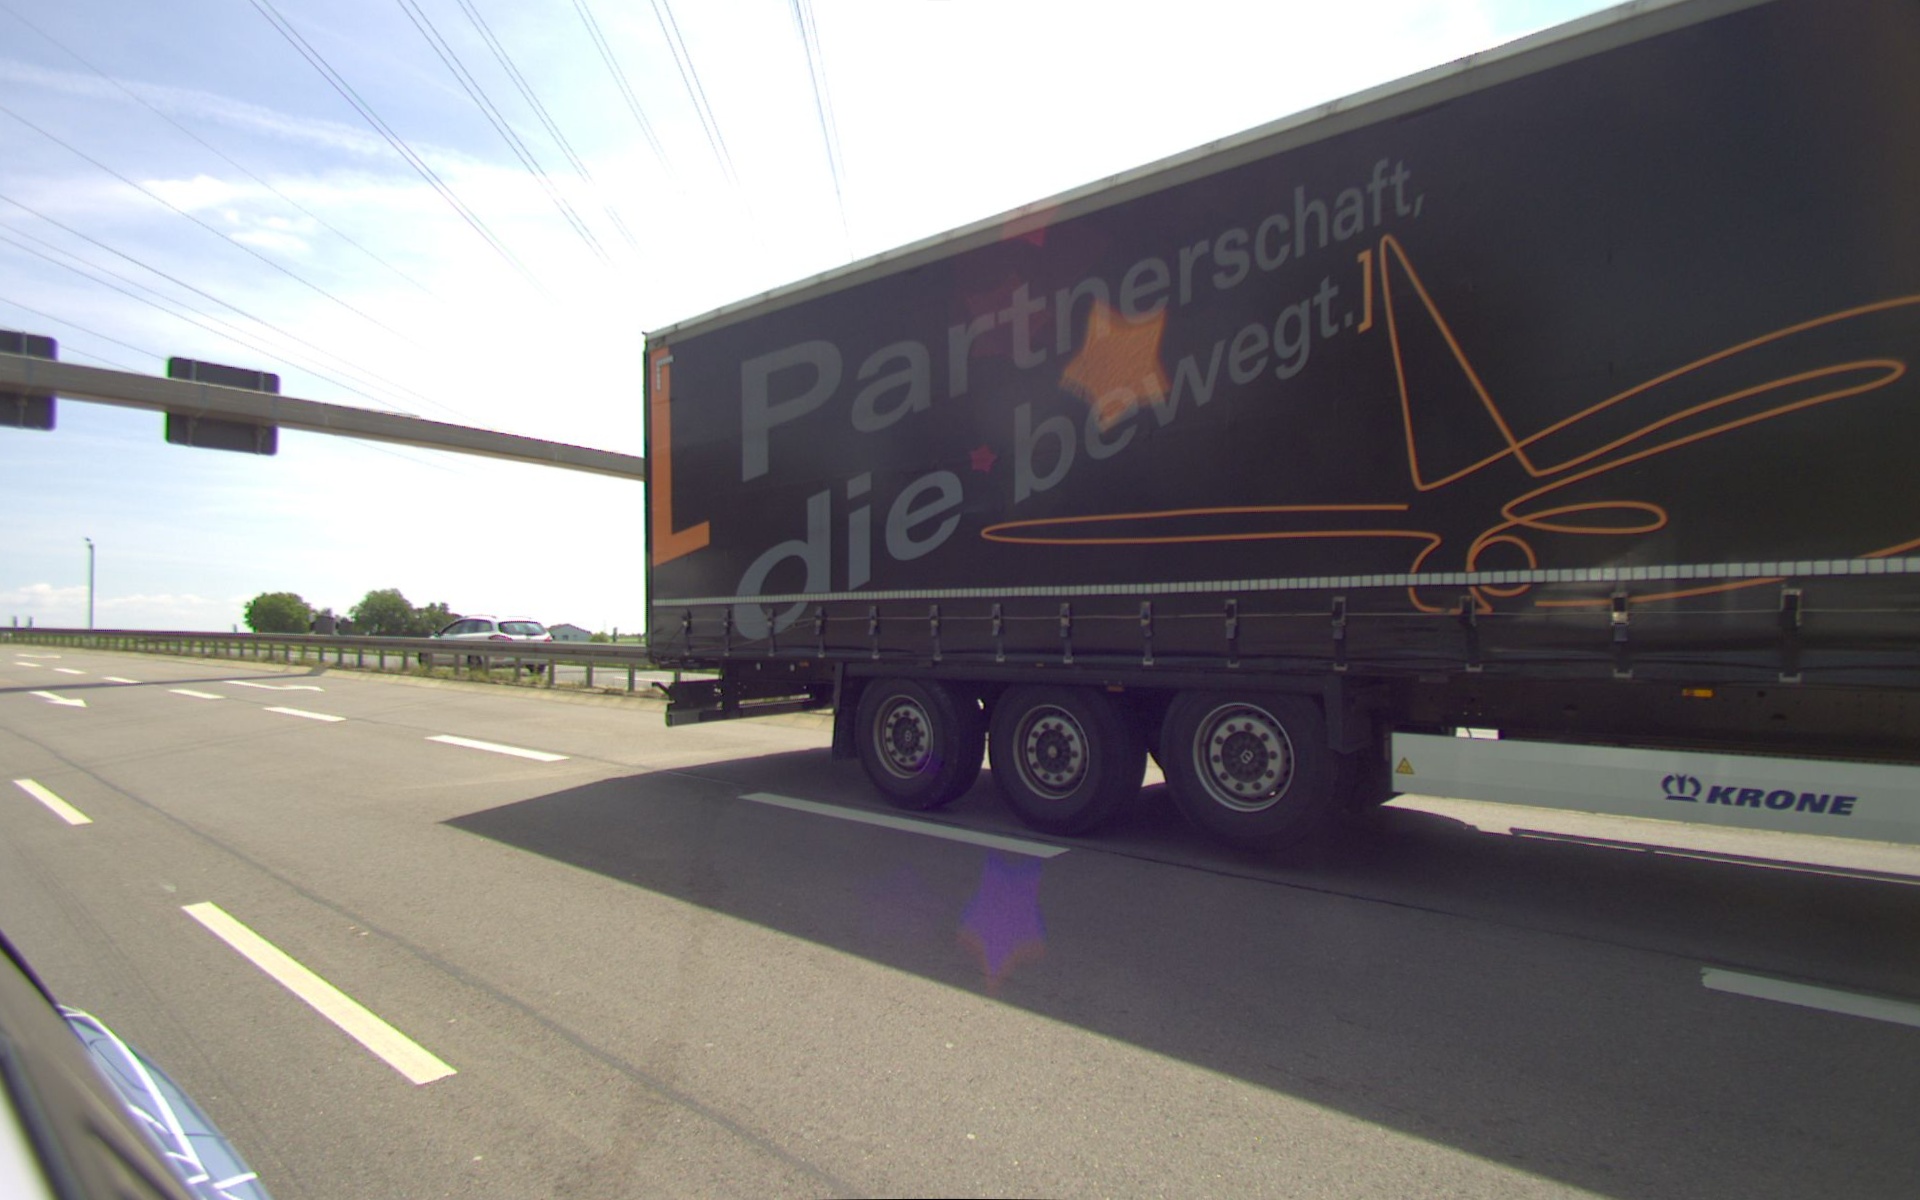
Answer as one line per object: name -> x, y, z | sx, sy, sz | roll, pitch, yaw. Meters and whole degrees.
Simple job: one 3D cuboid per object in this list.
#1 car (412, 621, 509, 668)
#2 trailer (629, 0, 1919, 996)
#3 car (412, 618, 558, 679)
car -> -16.788, 1.474, 33.974 | 3.700, 1.492, 1.498 | -1, -4, 39
trailer -> 3.158, -0.563, 5.582 | 13.778, 3.943, 2.754 | -1, 0, 41
car -> -12.490, 1.238, 26.509 | 4.320, 1.454, 1.718 | -1, -3, 39
